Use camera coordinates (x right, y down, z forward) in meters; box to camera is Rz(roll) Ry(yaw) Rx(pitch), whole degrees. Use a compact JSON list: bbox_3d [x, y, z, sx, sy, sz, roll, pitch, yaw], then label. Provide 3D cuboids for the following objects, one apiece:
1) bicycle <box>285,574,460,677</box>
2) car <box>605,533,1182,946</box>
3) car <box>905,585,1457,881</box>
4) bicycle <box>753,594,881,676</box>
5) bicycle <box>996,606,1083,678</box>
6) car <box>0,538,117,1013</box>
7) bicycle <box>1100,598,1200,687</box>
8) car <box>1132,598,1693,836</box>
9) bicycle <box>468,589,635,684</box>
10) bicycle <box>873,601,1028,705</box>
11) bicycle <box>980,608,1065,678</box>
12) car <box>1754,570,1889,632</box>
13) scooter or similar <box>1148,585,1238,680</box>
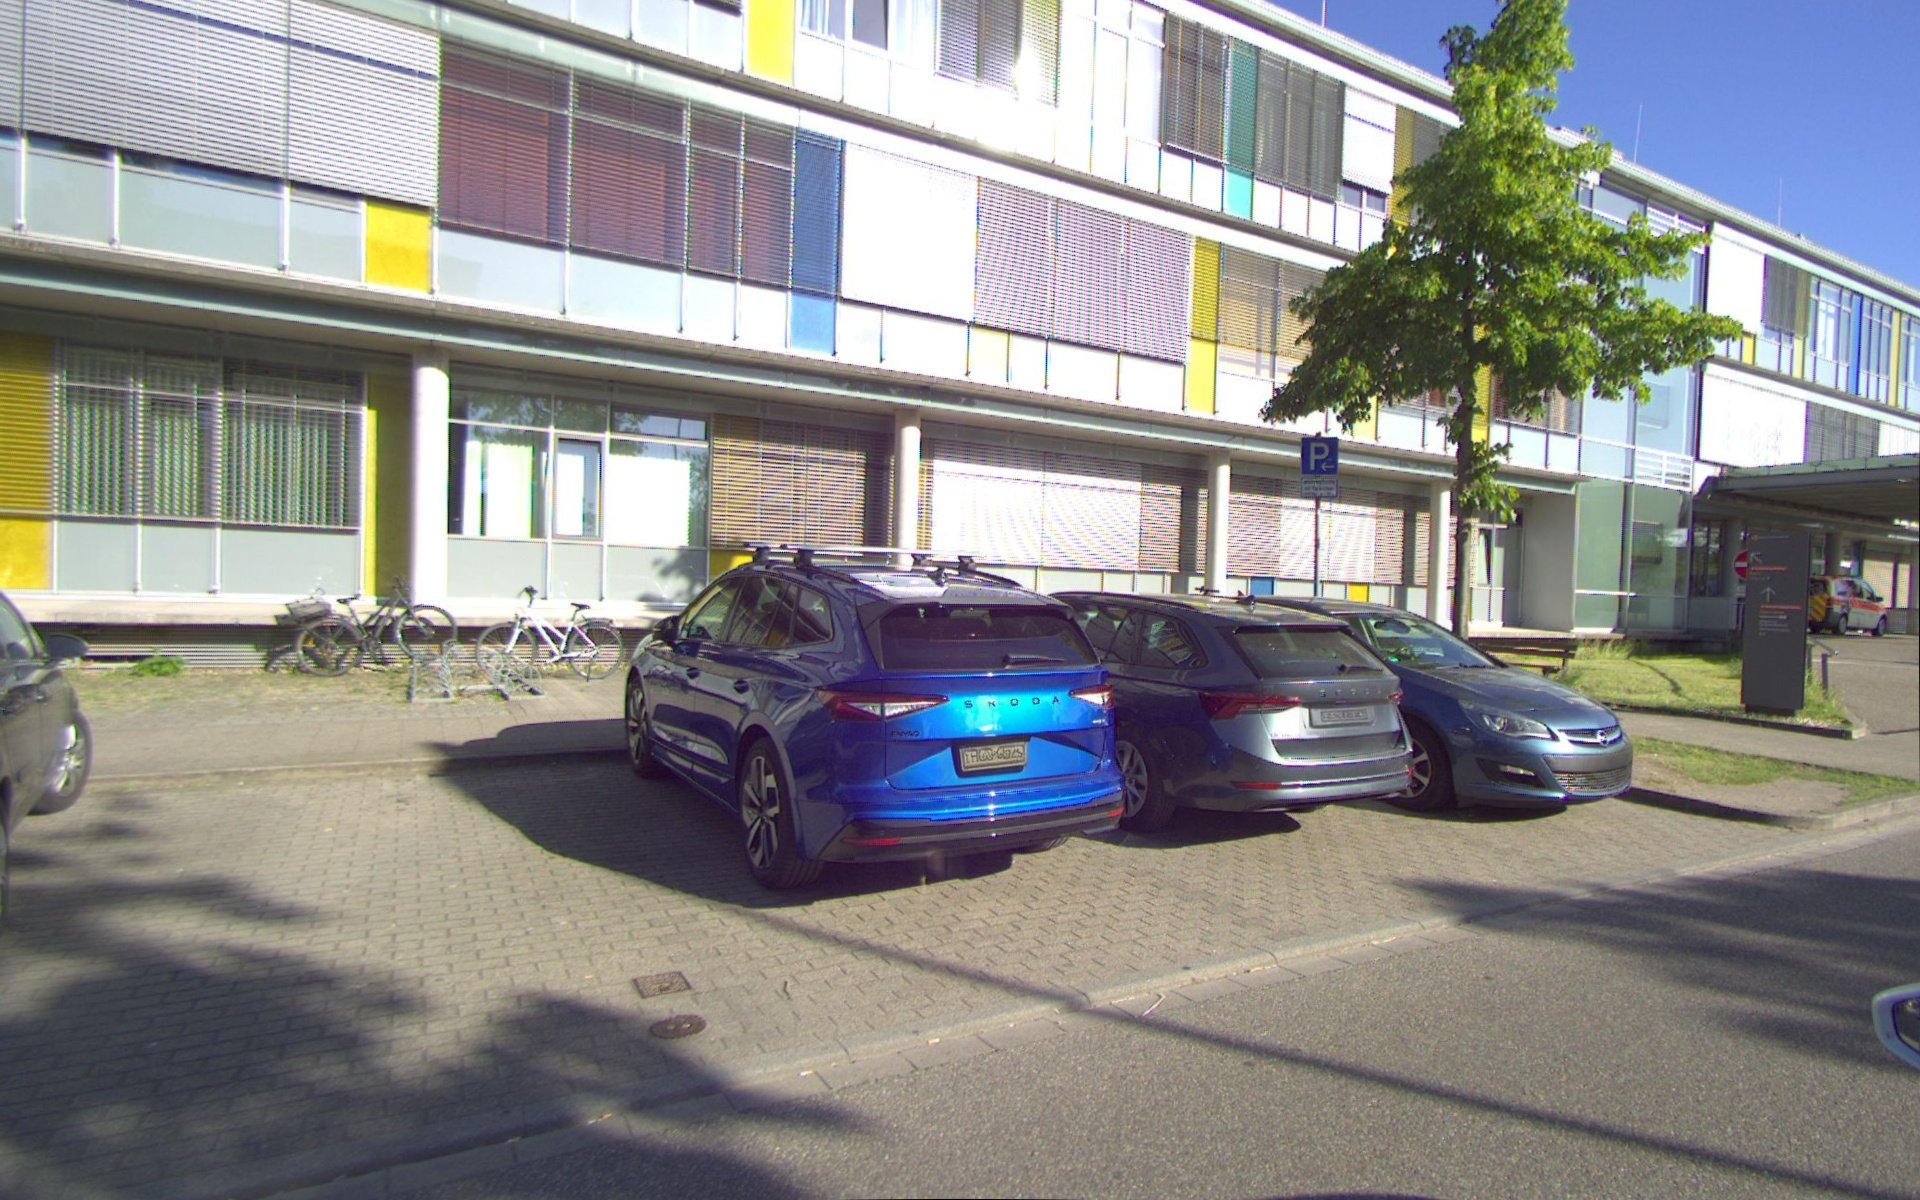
[{"bbox_3d":[-7.312,0.310,12.575,1.834,1.215,0.643,1,0,-31],"label":"bicycle"},{"bbox_3d":[-0.798,0.513,6.364,1.938,1.673,4.198,1,1,-31],"label":"car"},{"bbox_3d":[1.281,0.691,7.416,1.711,1.457,3.966,1,2,-31],"label":"car"},{"bbox_3d":[-2.105,0.512,14.905,1.834,1.151,0.445,1,0,-31],"label":"bicycle"},{"bbox_3d":[1.202,0.619,15.052,1.382,1.036,0.350,1,0,-35],"label":"bicycle"},{"bbox_3d":[-4.915,0.488,4.284,1.762,1.508,3.713,1,3,-37],"label":"car"},{"bbox_3d":[2.847,0.610,14.977,1.634,1.062,0.350,-9,6,-34],"label":"bicycle"},{"bbox_3d":[3.456,0.742,8.510,1.733,1.486,4.112,1,0,-30],"label":"car"},{"bbox_3d":[-5.038,0.439,12.434,1.834,1.110,0.643,1,0,-31],"label":"bicycle"},{"bbox_3d":[-0.096,0.606,11.974,1.759,1.158,0.632,1,0,-31],"label":"bicycle"},{"bbox_3d":[0.969,0.648,15.420,1.382,1.036,0.350,1,0,-35],"label":"bicycle"},{"bbox_3d":[28.461,0.054,33.169,4.655,1.916,1.910,1,1,-30],"label":"car"},{"bbox_3d":[3.277,0.449,14.131,1.190,1.291,0.468,1,1,-28],"label":"scooter or similar"}]
